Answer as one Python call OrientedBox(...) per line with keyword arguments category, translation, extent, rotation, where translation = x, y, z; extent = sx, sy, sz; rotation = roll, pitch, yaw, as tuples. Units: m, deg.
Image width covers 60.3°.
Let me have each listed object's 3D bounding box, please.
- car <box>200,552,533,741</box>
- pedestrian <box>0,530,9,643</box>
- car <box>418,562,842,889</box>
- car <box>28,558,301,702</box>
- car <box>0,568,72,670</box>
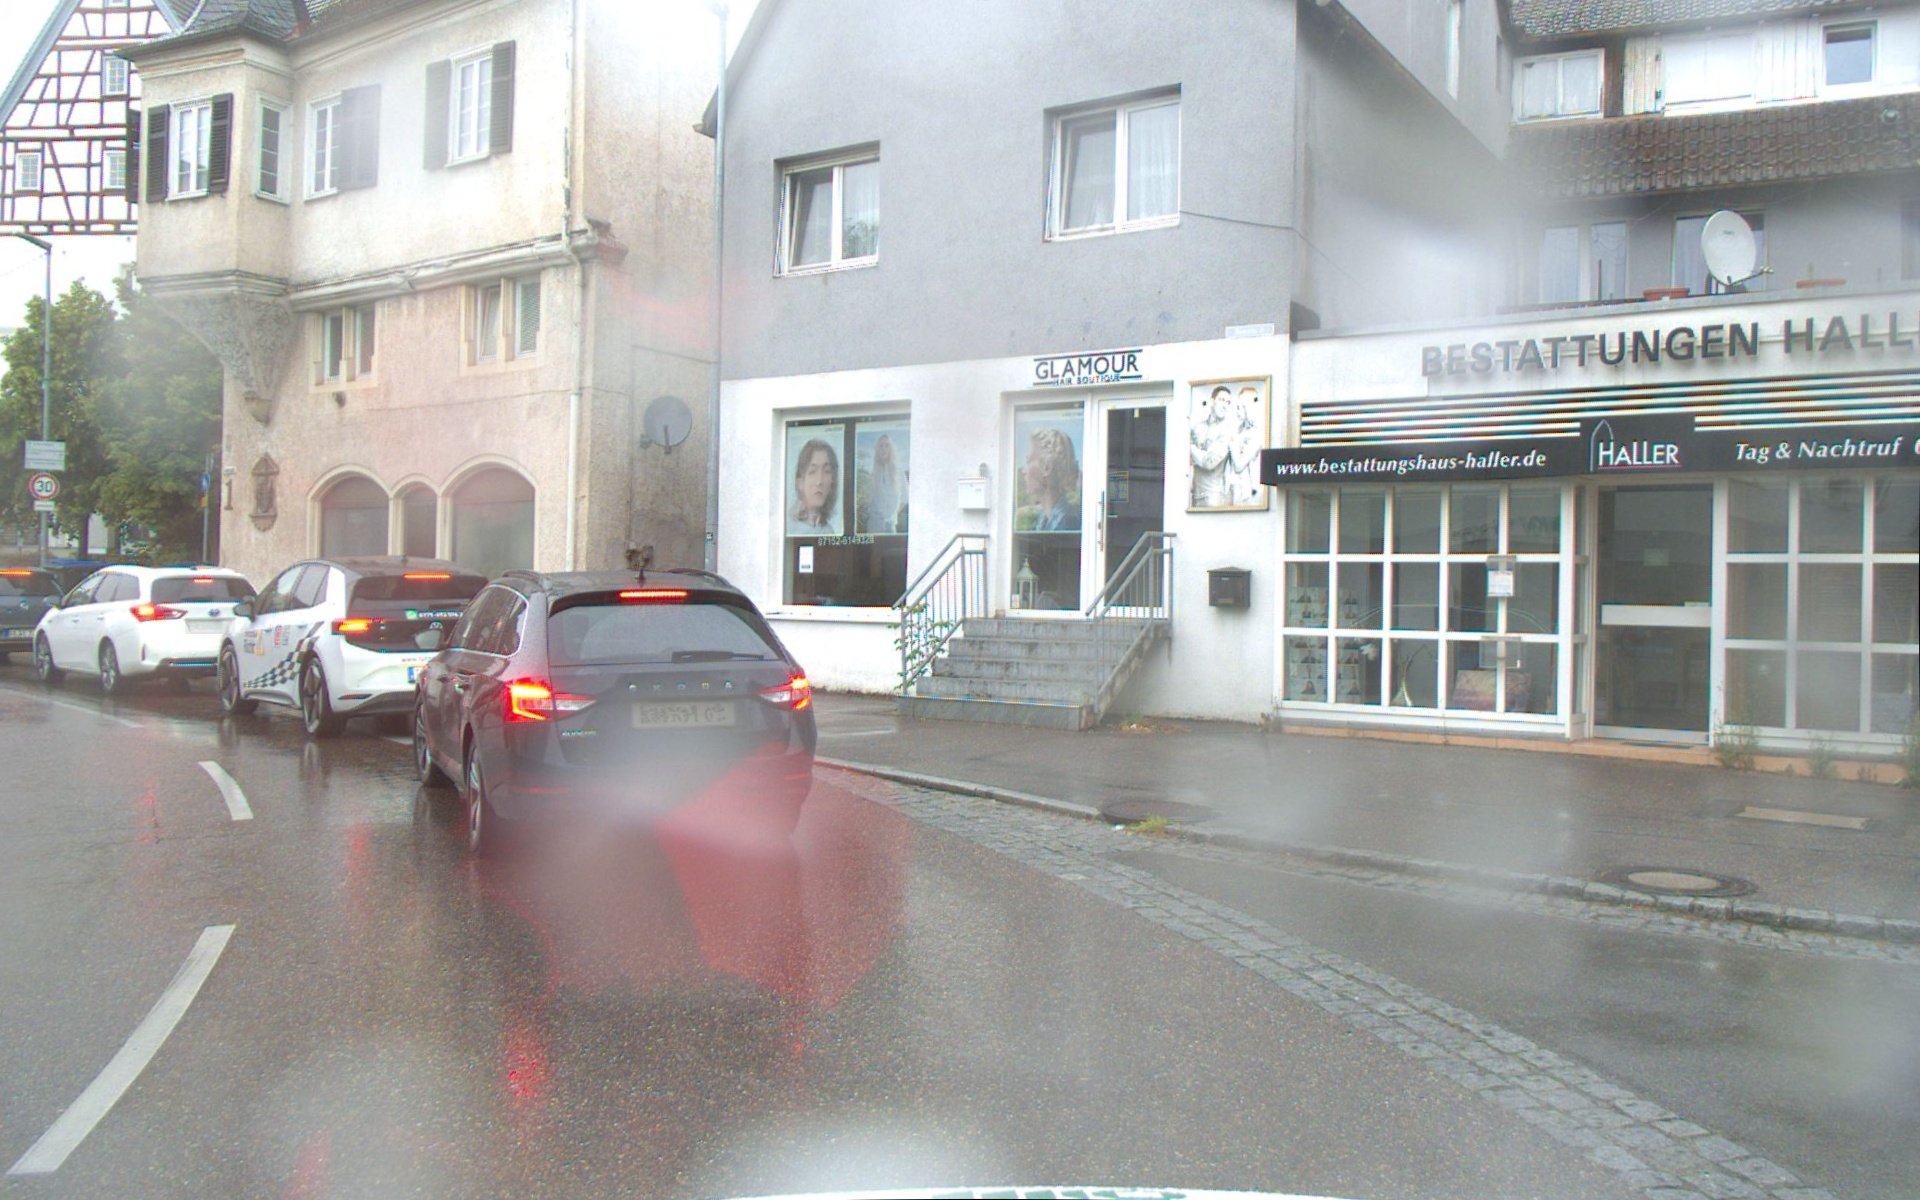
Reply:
OrientedBox(category="car", translation=(-5.767, 0.340, 15.769), extent=(1.777, 1.543, 4.183), rotation=(-1, 1, -38))
OrientedBox(category="pedestrian", translation=(-20.772, -0.289, 35.031), extent=(0.861, 2.367, 1.211), rotation=(0, 0, -43))
OrientedBox(category="car", translation=(-2.192, 0.533, 9.956), extent=(1.709, 1.475, 4.212), rotation=(0, 2, -23))
OrientedBox(category="car", translation=(-9.725, 0.274, 20.076), extent=(1.778, 1.490, 4.096), rotation=(-1, 3, -45))
OrientedBox(category="car", translation=(-14.905, 0.244, 24.945), extent=(3.701, 1.385, 1.514), rotation=(2, 3, 42))
